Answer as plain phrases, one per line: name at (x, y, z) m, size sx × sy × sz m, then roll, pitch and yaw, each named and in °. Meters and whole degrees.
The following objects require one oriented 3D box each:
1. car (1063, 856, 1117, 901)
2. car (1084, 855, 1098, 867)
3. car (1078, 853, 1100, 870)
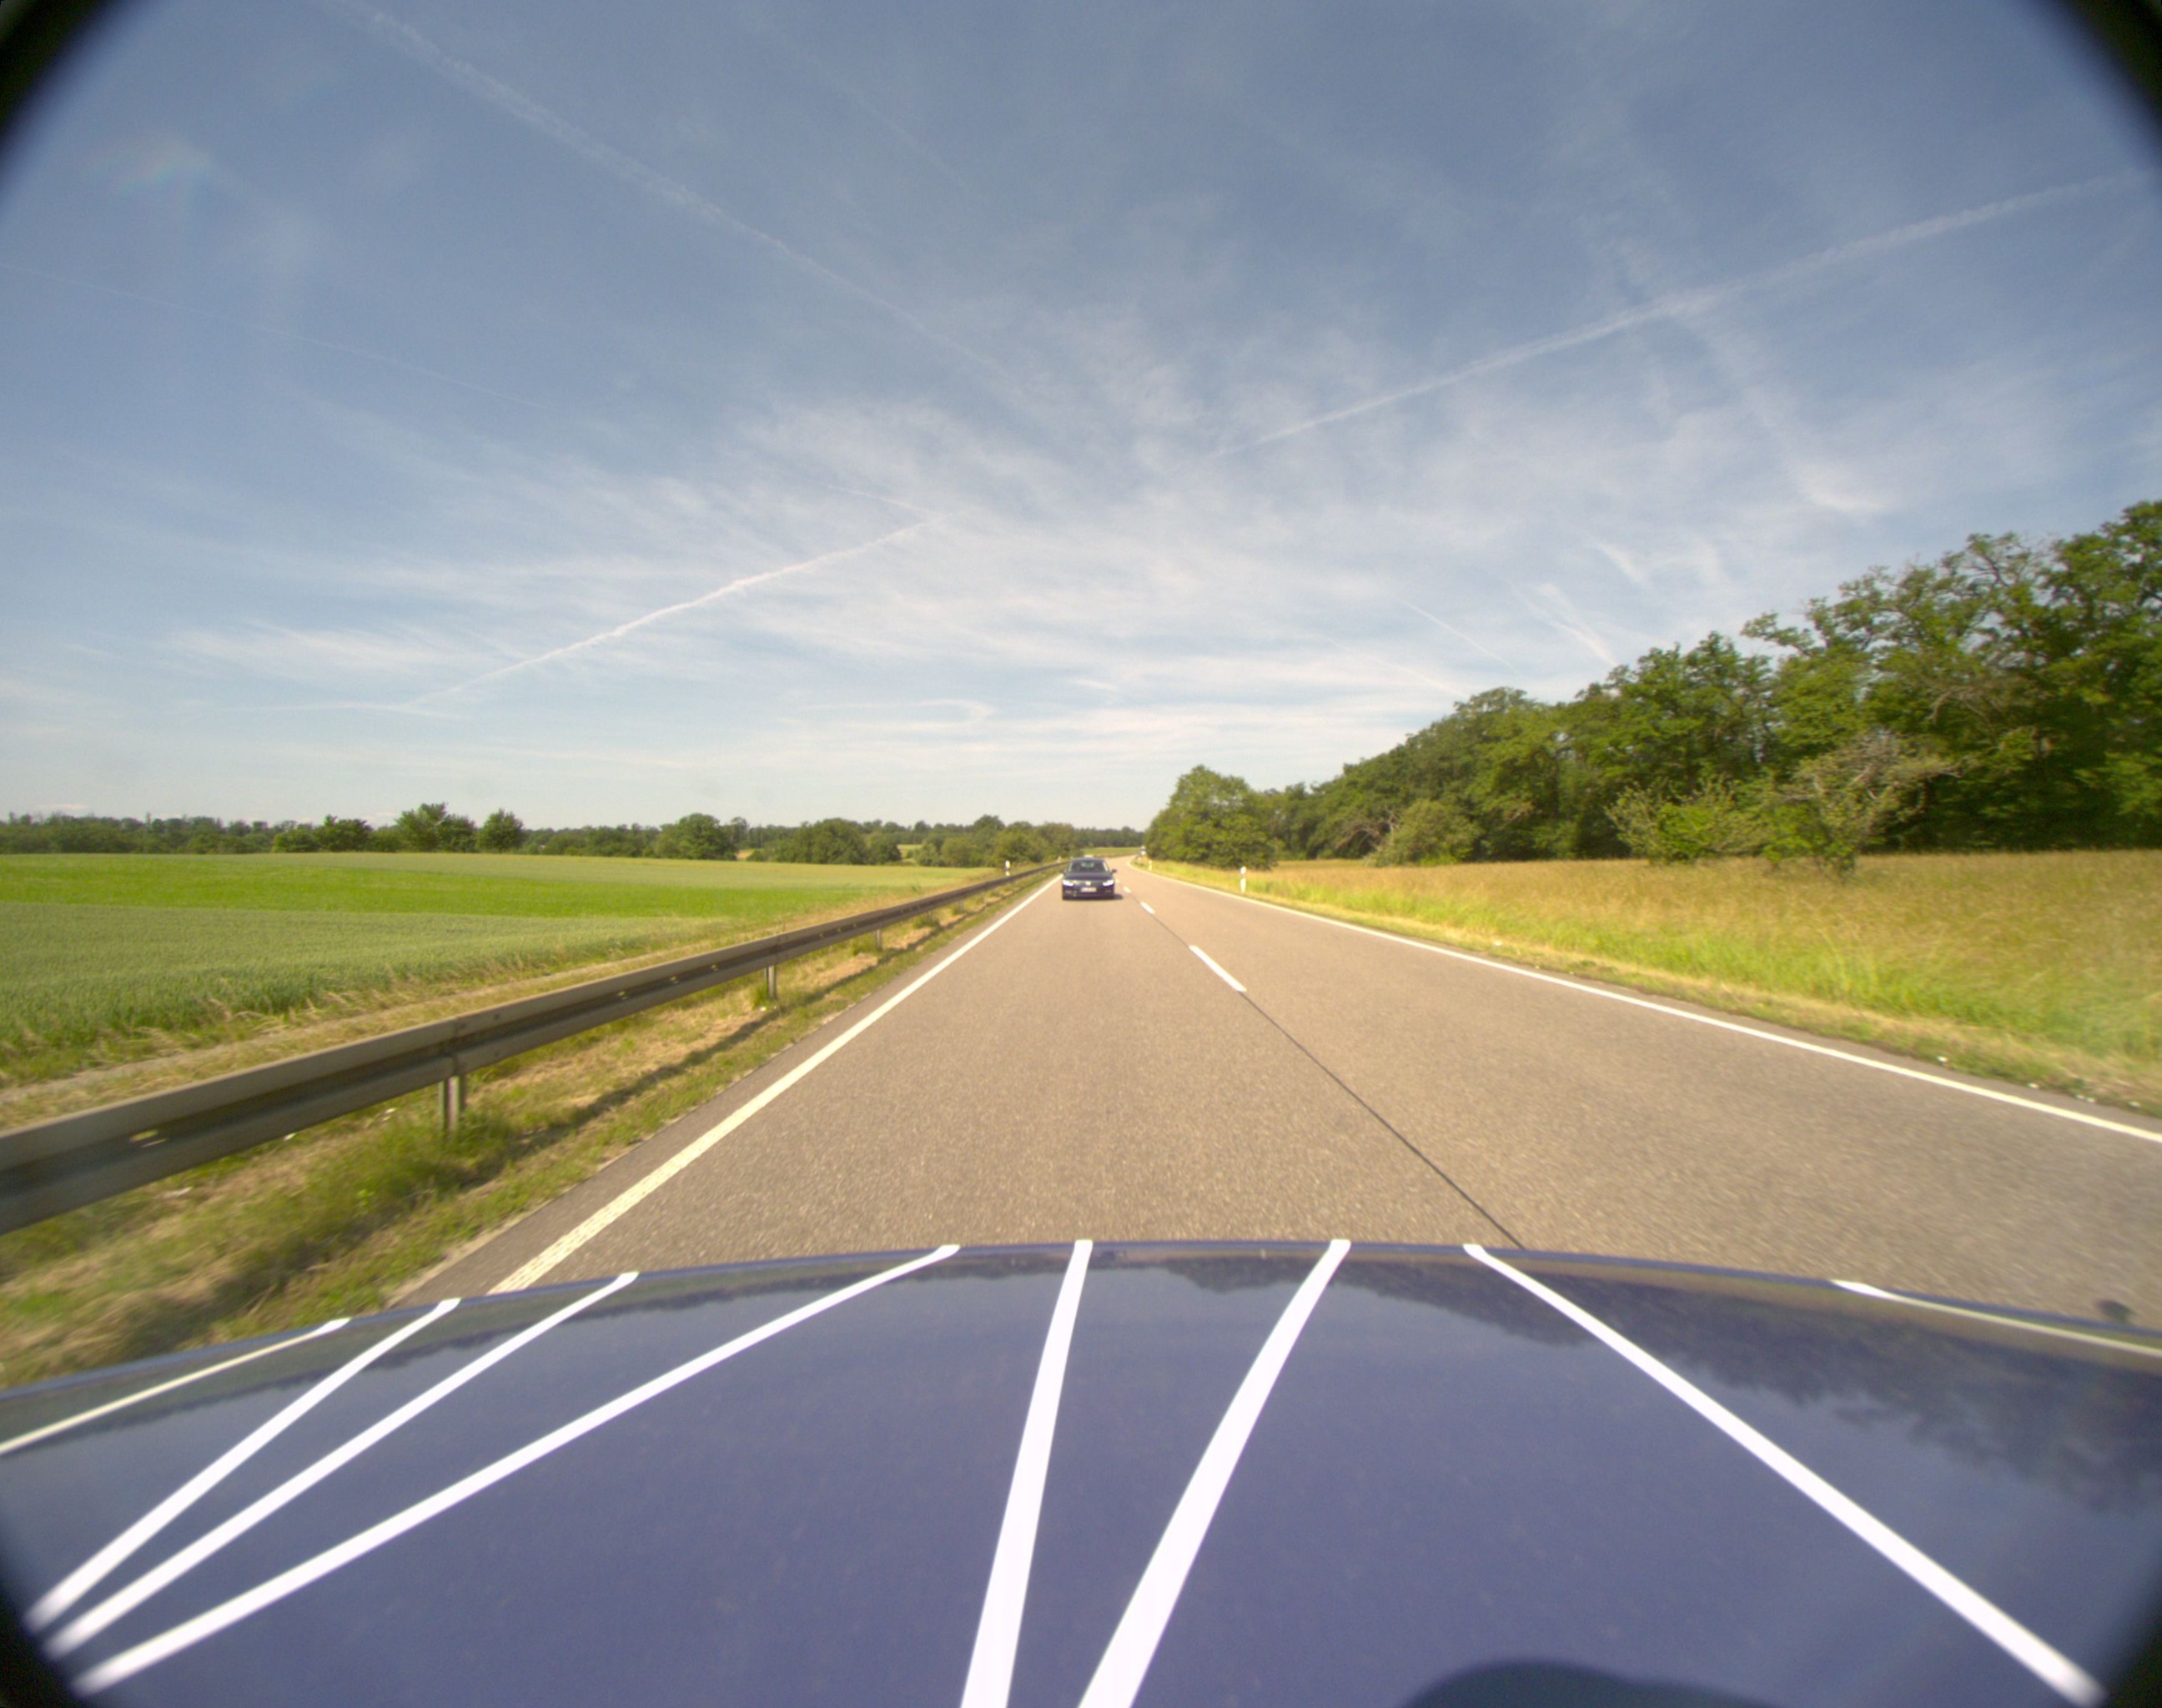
car at (0.323, 0.840, 27.872) m, size 1.822 × 1.501 × 4.501 m, roll 0°, pitch 0°, yaw 1°
car at (1.375, 0.966, 105.595) m, size 1.928 × 1.501 × 4.291 m, roll 0°, pitch 0°, yaw 0°
car at (0.745, 0.729, 71.055) m, size 1.928 × 1.501 × 4.292 m, roll -1°, pitch 0°, yaw 0°
